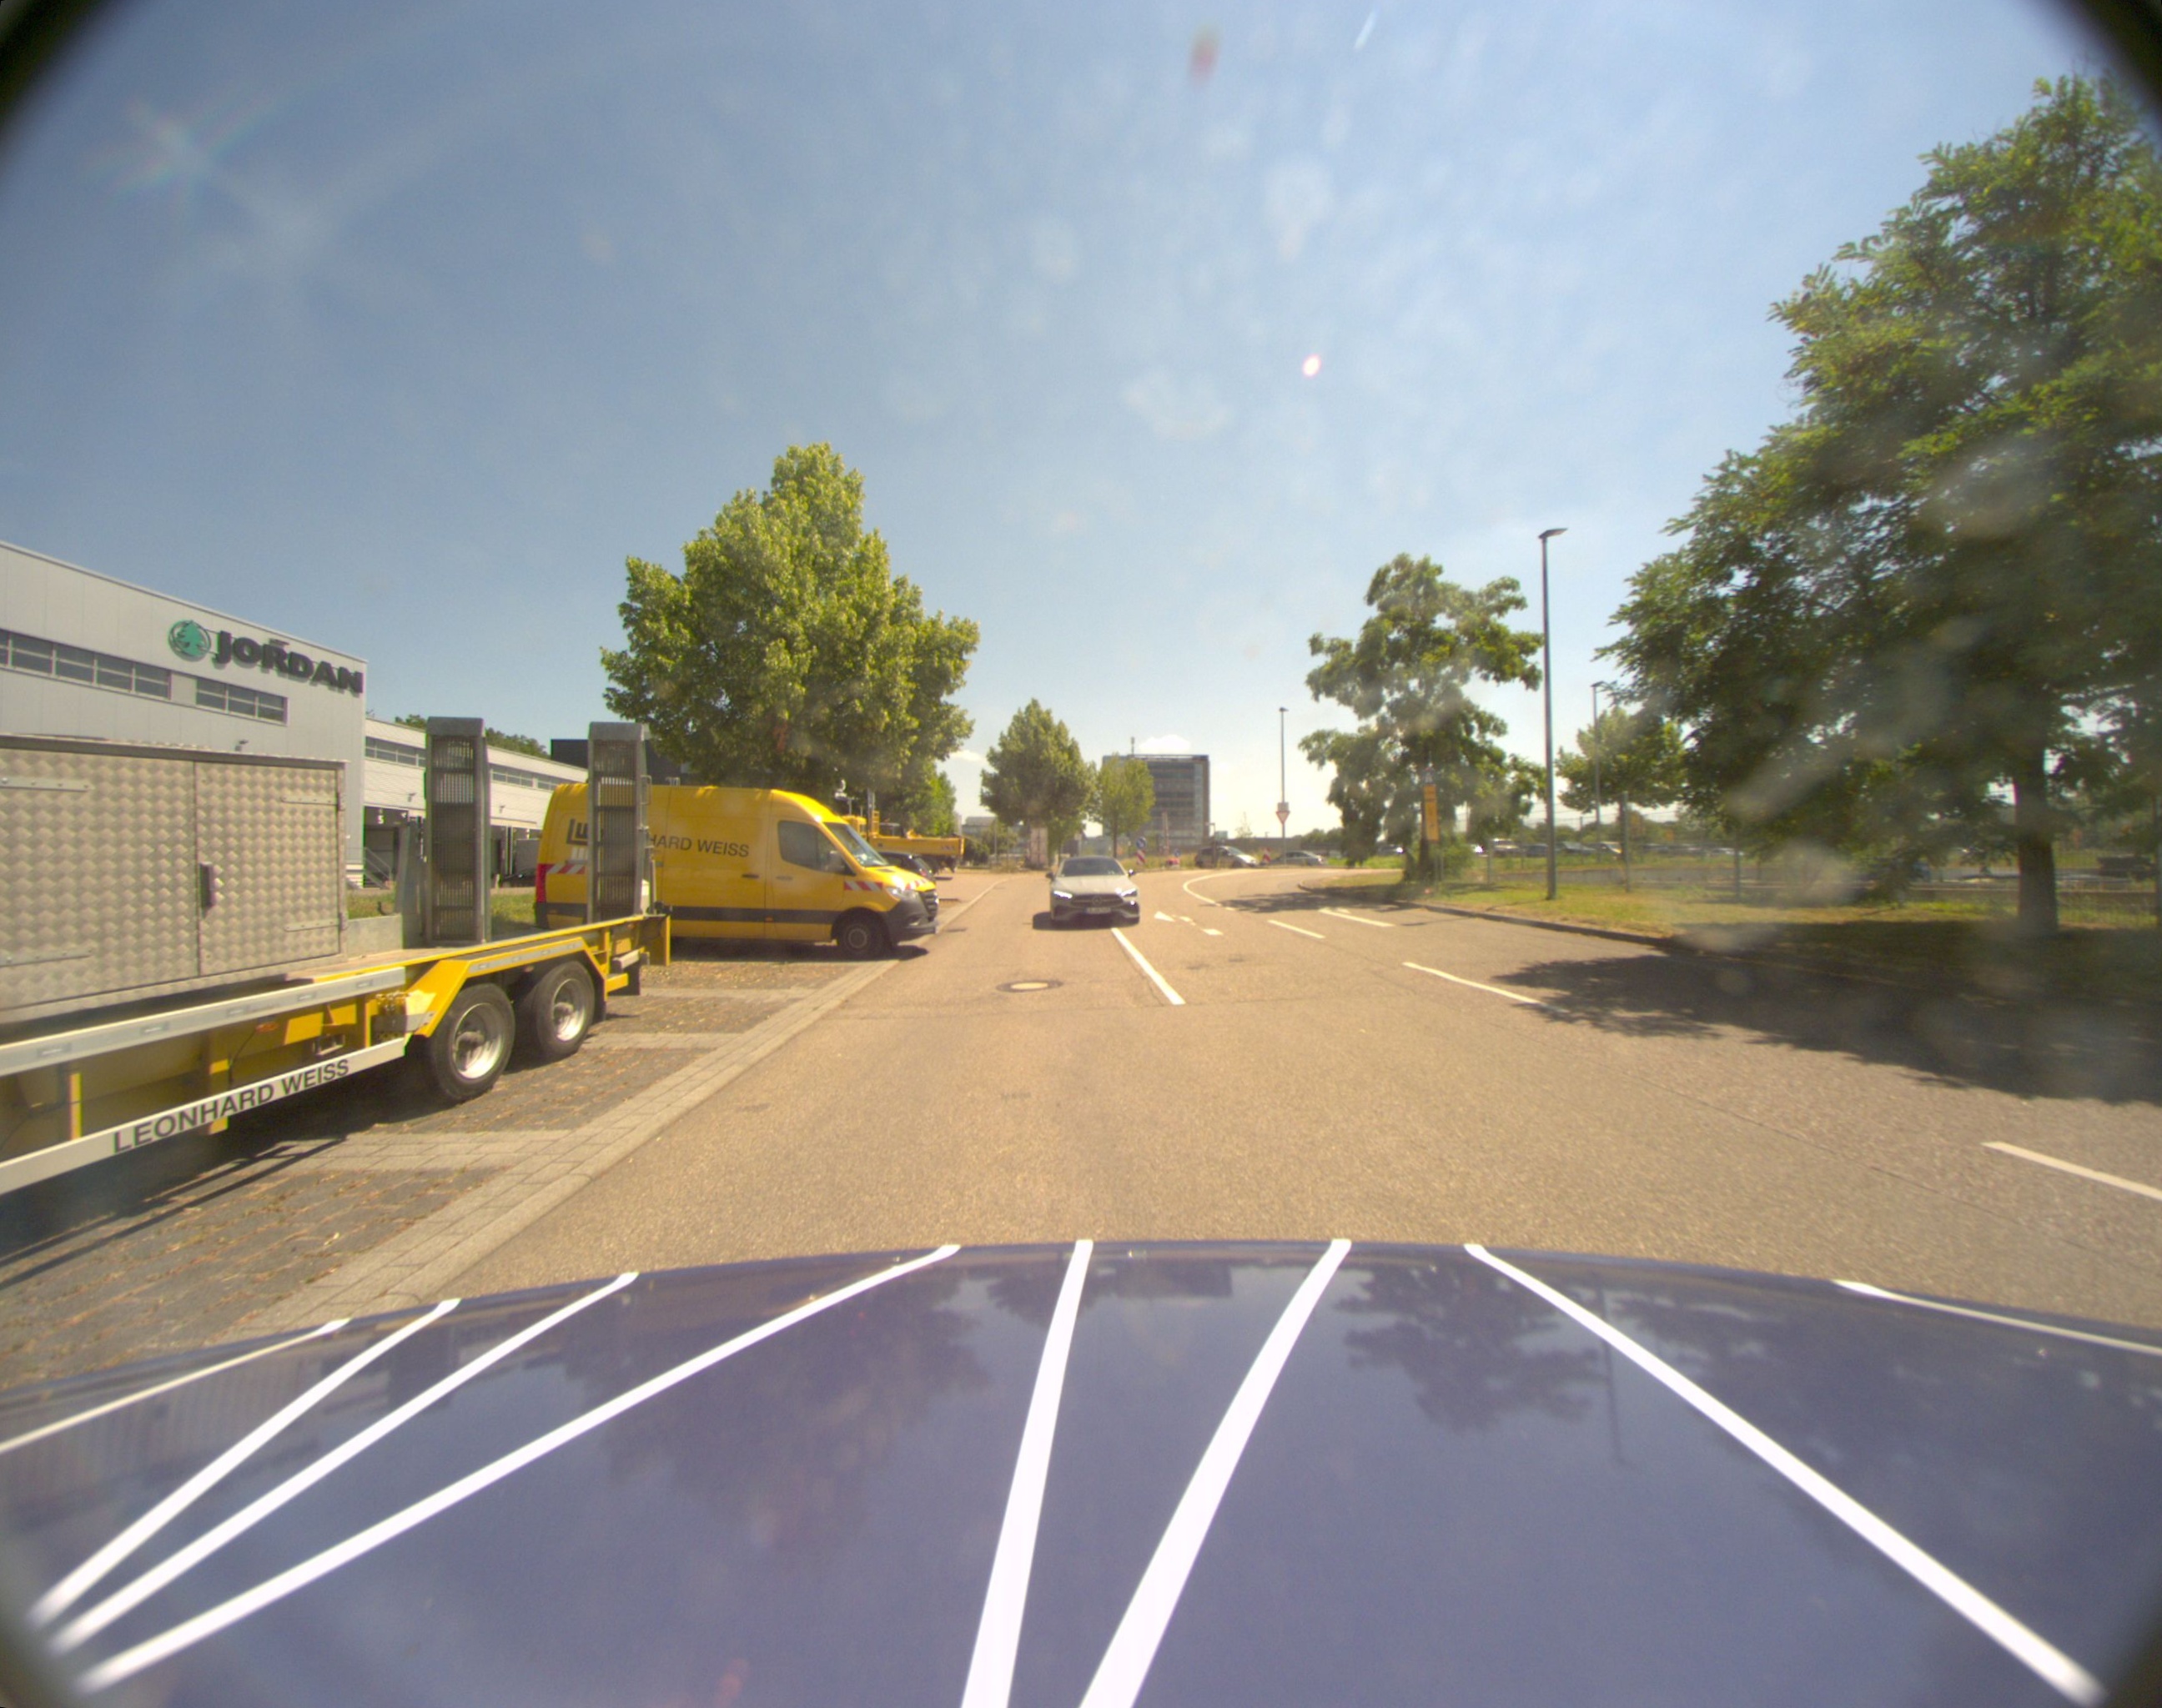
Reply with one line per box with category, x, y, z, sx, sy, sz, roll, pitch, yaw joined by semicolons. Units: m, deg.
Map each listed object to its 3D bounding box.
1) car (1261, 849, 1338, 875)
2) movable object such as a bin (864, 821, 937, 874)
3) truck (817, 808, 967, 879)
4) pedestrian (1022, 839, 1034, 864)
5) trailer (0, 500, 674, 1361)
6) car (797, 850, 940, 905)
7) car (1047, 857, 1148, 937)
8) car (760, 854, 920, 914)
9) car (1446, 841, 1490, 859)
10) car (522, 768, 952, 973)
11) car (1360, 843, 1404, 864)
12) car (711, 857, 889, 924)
car;14.233;0.563;49.538;4.486;1.365;1.678;-4;-5;30
movable object such as a bin;-9.449;-0.375;40.492;1.998;2.566;6.577;-1;1;2
truck;-8.541;-0.476;35.057;6.423;3.119;2.593;0;2;-7
pedestrian;-3.588;-0.164;51.342;0.578;1.659;0.532;-3;-3;25
trailer;-5.141;0.229;4.736;2.664;2.840;5.516;1;0;-6
car;-6.066;0.660;21.991;3.670;1.454;1.626;1;1;-3
car;0.270;0.820;16.693;1.897;1.375;4.631;-1;1;-1
car;-6.310;0.767;20.227;3.781;1.498;1.590;0;1;-5
car;29.335;-0.292;57.637;1.500;1.174;3.271;-2;-1;-3
car;-5.176;0.266;12.122;5.795;2.716;2.000;3;-1;-2
car;26.963;-0.027;68.212;1.777;1.679;4.604;1;-2;-4
car;-6.533;0.829;17.984;3.612;1.470;1.627;0;1;-4
